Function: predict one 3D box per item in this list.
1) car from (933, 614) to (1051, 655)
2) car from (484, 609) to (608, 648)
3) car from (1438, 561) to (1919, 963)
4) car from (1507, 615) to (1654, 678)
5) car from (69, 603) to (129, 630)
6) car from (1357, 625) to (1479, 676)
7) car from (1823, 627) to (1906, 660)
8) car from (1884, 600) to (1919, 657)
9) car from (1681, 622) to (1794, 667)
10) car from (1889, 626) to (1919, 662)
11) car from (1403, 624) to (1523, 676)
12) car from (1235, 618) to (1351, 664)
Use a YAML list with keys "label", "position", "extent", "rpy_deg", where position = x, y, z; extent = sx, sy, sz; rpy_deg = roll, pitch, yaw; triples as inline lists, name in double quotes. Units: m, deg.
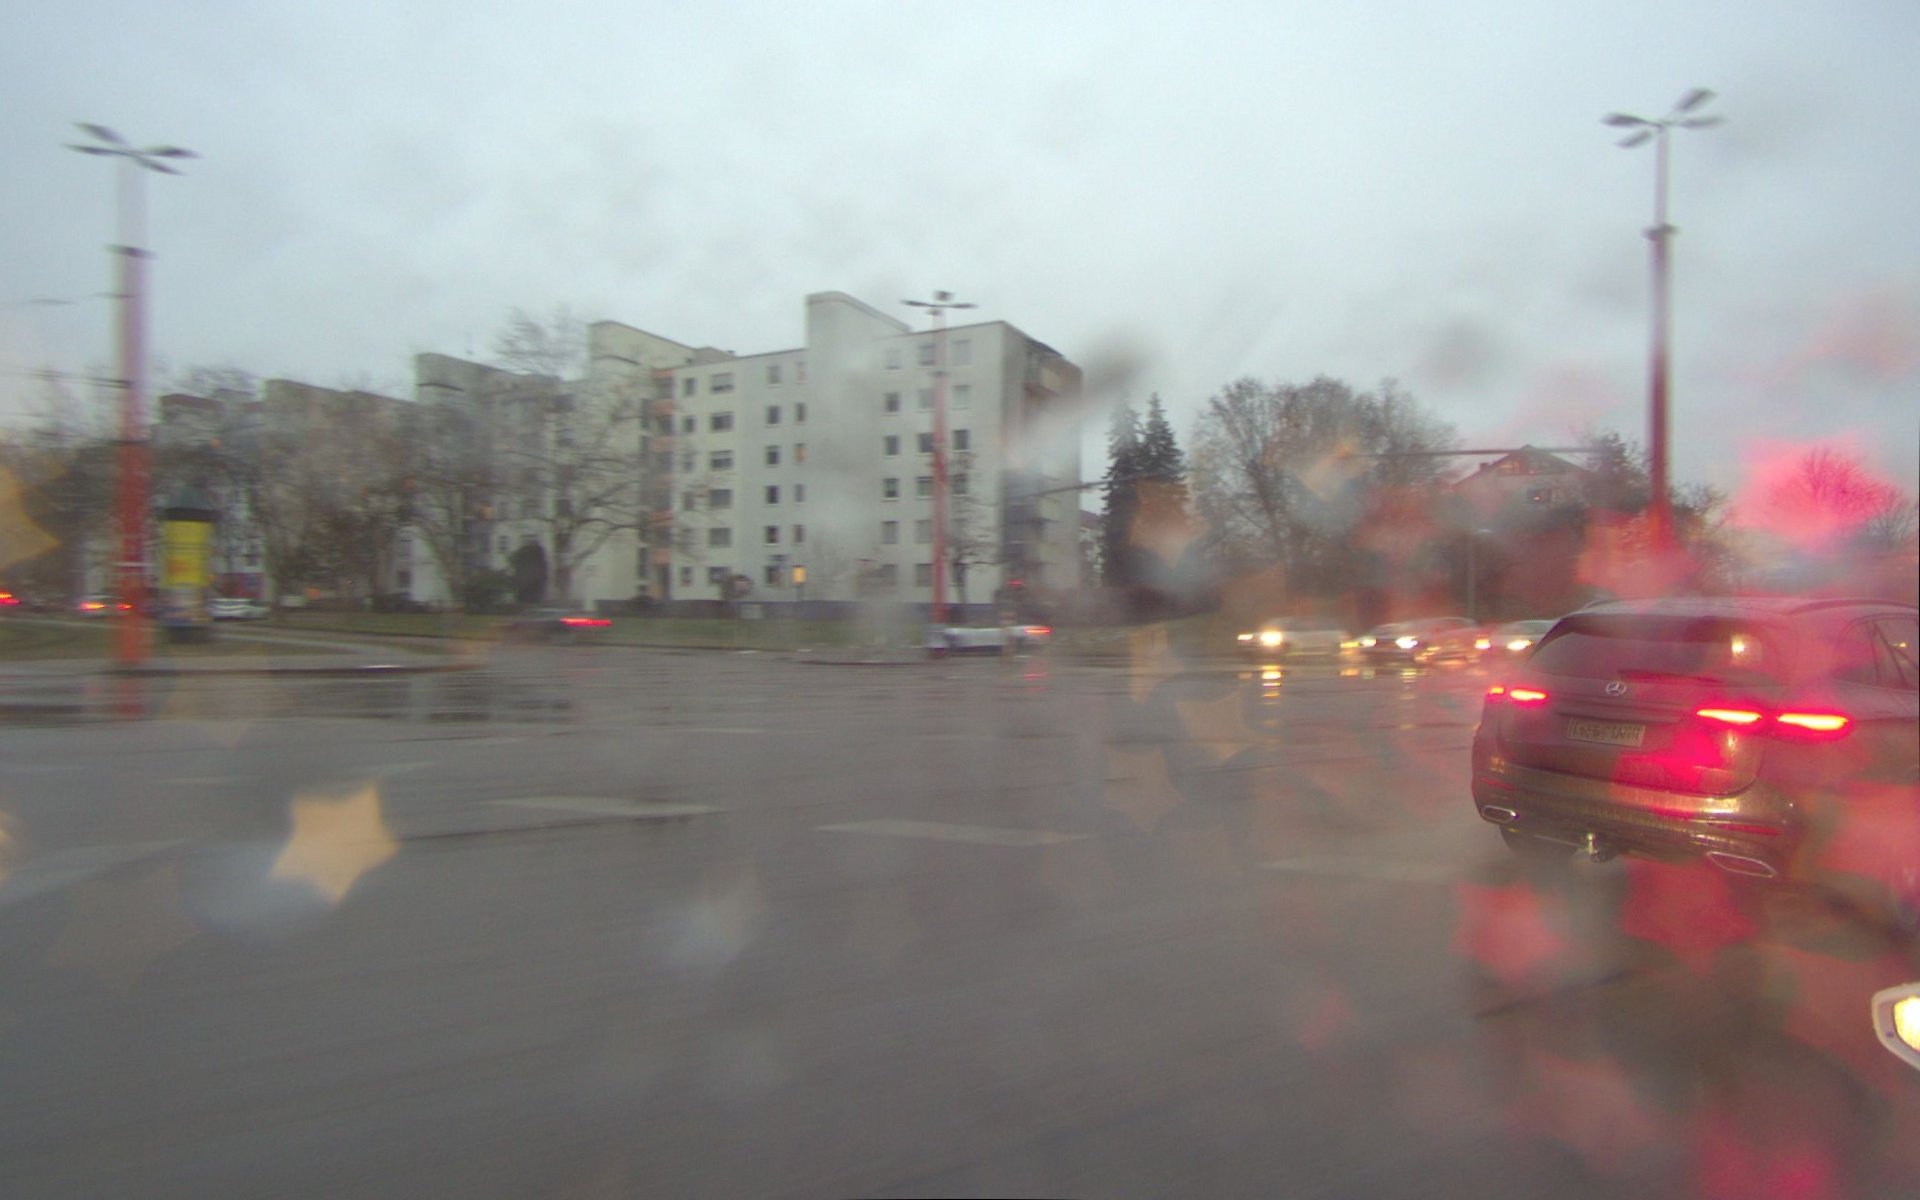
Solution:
- label: "car"
  position: [1.239, 1.363, 40.162]
  extent: [4.510, 1.550, 1.999]
  rpy_deg: [1, -1, -5]
- label: "car"
  position: [-17.276, 1.169, 42.027]
  extent: [4.393, 1.550, 2.001]
  rpy_deg: [1, -1, 9]
- label: "car"
  position: [5.110, 0.721, 6.047]
  extent: [4.412, 1.670, 1.814]
  rpy_deg: [1, -1, -29]
- label: "car"
  position: [17.130, 1.245, 27.699]
  extent: [4.033, 1.603, 1.847]
  rpy_deg: [1, -1, -31]
- label: "car"
  position: [-54.358, 1.050, 63.373]
  extent: [3.927, 1.662, 1.535]
  rpy_deg: [0, -1, 28]
- label: "car"
  position: [15.160, 1.622, 33.228]
  extent: [3.901, 1.574, 1.761]
  rpy_deg: [1, -1, -31]
- label: "car"
  position: [45.504, 2.162, 50.538]
  extent: [4.390, 1.557, 1.763]
  rpy_deg: [1, -1, -28]
- label: "car"
  position: [54.684, 1.652, 56.024]
  extent: [7.255, 3.045, 2.282]
  rpy_deg: [2, 0, -28]
- label: "car"
  position: [28.800, 1.620, 37.165]
  extent: [4.472, 1.554, 1.761]
  rpy_deg: [1, -1, -30]
- label: "car"
  position: [44.594, 2.012, 46.103]
  extent: [3.985, 1.607, 1.761]
  rpy_deg: [1, -1, -30]
- label: "car"
  position: [14.839, 1.438, 29.603]
  extent: [3.287, 1.439, 1.644]
  rpy_deg: [1, -1, -30]
- label: "car"
  position: [11.660, 1.412, 35.119]
  extent: [3.968, 1.515, 1.611]
  rpy_deg: [1, -1, -30]
